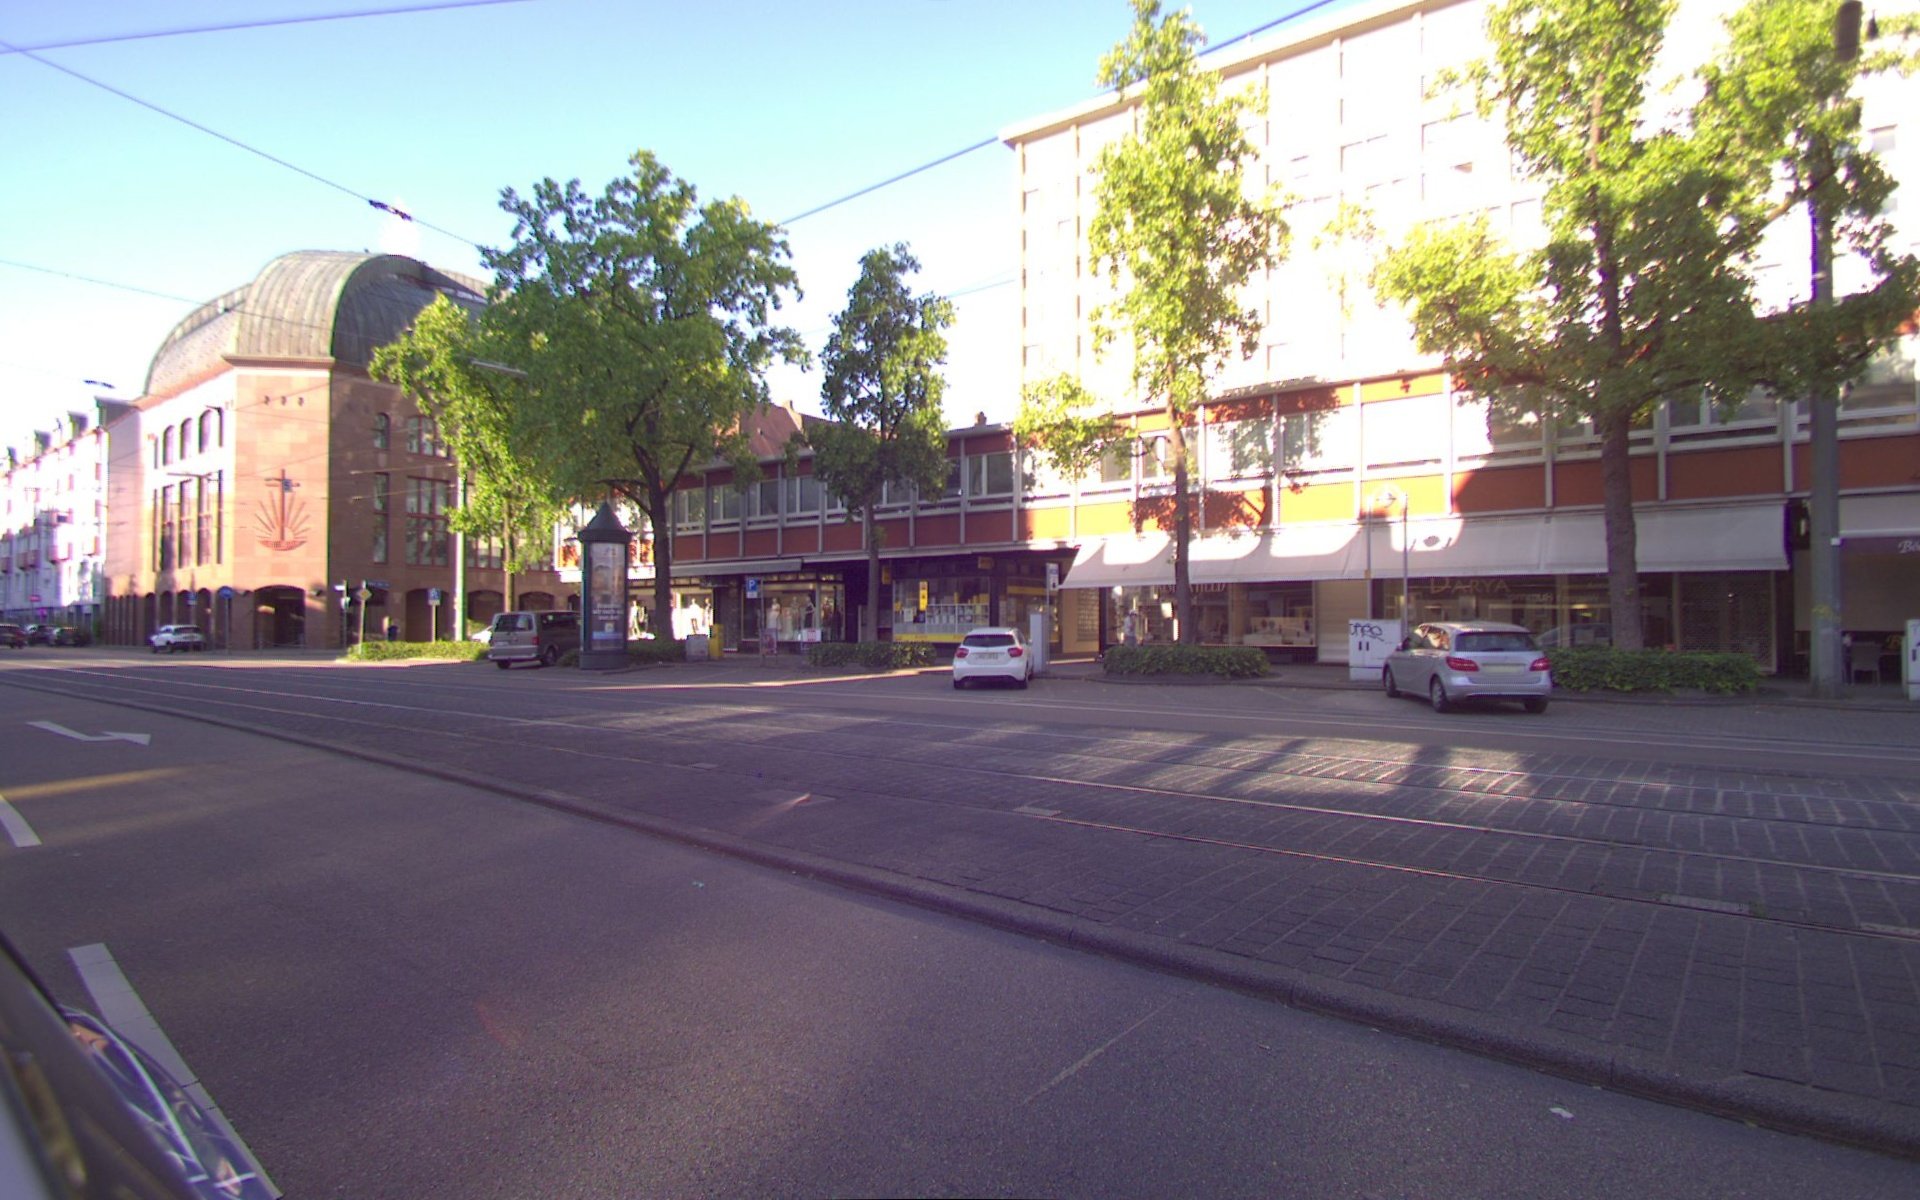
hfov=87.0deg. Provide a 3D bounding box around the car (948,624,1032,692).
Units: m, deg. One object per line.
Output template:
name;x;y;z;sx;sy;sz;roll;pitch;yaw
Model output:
car;0.833;1.384;25.233;1.776;1.486;3.992;-1;-1;6

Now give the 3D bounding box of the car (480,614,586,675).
car;-14.864;1.520;35.501;1.886;1.979;3.996;-1;-1;3

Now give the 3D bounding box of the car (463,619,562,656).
car;-25.870;2.148;58.699;1.996;2.029;4.926;-1;-2;36

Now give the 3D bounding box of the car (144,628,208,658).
car;-45.172;2.440;58.297;3.992;1.615;1.888;-1;-1;36

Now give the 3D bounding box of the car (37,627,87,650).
car;-66.490;2.831;74.923;3.992;1.615;1.942;-1;-1;36

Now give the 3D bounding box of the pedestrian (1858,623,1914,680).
pedestrian;19.533;1.081;21.362;0.726;1.181;0.770;-1;-2;35

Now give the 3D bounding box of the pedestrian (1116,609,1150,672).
pedestrian;5.062;1.173;29.602;0.626;1.782;0.770;1;-1;-36

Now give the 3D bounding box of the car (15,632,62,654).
car;-71.668;3.292;78.718;3.992;1.615;1.942;-1;-1;36

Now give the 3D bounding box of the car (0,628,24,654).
car;-62.852;2.677;66.012;3.992;1.615;1.942;-1;-1;36

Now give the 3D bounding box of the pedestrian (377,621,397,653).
pedestrian;-31.615;2.040;55.846;0.548;1.761;0.780;-2;-3;41

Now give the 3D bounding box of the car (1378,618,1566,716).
car;9.261;1.146;18.698;1.776;1.566;3.992;-1;-1;6
